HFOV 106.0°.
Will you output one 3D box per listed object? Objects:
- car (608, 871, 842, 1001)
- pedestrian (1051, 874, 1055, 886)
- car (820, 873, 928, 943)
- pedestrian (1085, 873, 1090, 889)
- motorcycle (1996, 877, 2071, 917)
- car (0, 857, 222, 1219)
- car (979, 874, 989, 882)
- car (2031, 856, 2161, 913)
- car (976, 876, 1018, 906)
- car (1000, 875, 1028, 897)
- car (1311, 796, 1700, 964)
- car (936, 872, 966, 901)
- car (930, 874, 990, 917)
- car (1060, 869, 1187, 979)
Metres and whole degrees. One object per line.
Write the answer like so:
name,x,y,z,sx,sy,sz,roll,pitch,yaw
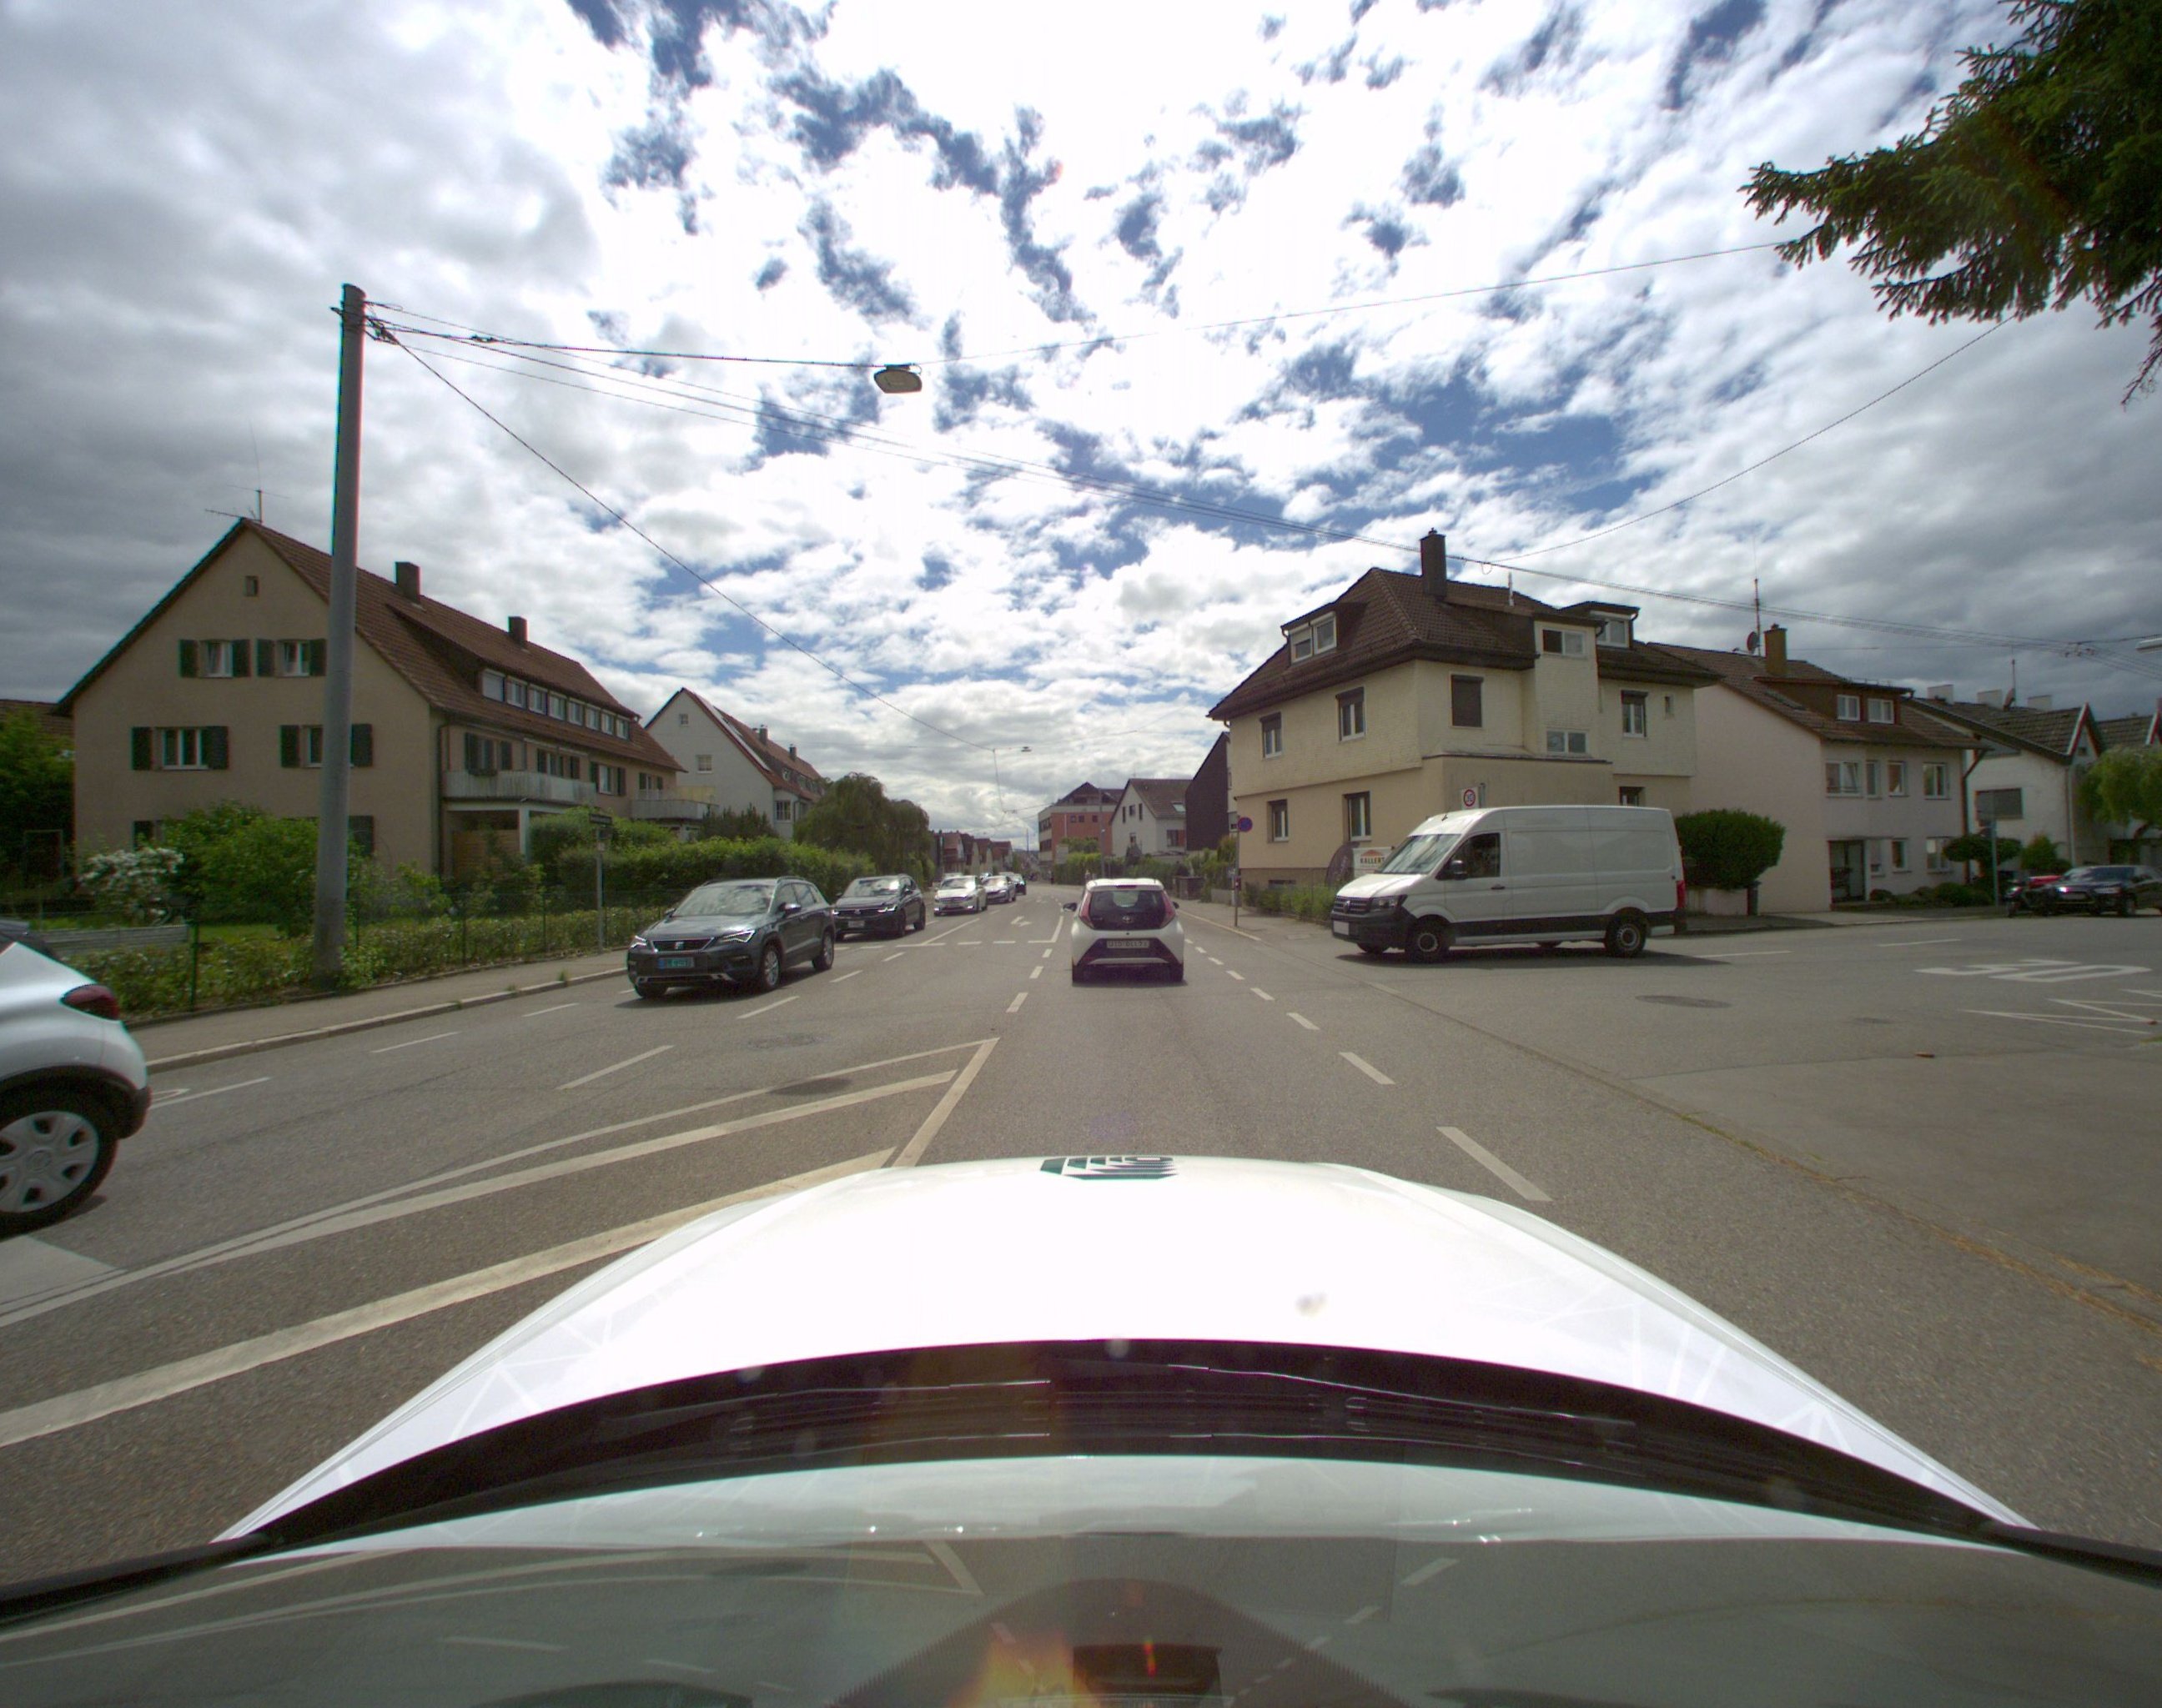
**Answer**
car,-5.155,1.099,12.458,1.769,1.603,4.037,-2,-1,0
pedestrian,-3.368,3.137,98.626,0.413,1.438,0.436,0,-1,-7
car,-5.468,1.372,22.043,1.769,1.603,4.168,-4,-1,0
pedestrian,0.604,2.565,77.216,0.413,1.438,0.436,0,-1,-13
motorcycle,28.581,1.279,24.441,1.753,1.158,0.530,-1,-2,-6
car,-5.747,0.811,2.518,1.768,1.603,4.041,-2,-2,3
car,-19.848,4.915,166.455,1.991,1.684,3.990,1,-2,-7
car,31.984,0.935,25.554,4.005,1.662,1.691,0,-2,-24
car,-4.478,1.939,43.922,1.770,1.430,4.520,-4,-1,-1
car,-4.776,2.262,58.468,1.770,1.430,4.005,-2,-1,-2
car,7.245,0.368,14.111,5.997,2.582,1.993,-1,-1,-11
car,-9.026,2.225,56.818,1.773,1.846,3.999,-4,-1,-6
car,-4.967,1.654,33.825,1.769,1.562,4.168,-4,-1,0
car,0.531,1.006,13.138,1.617,1.486,3.994,0,-2,-3
